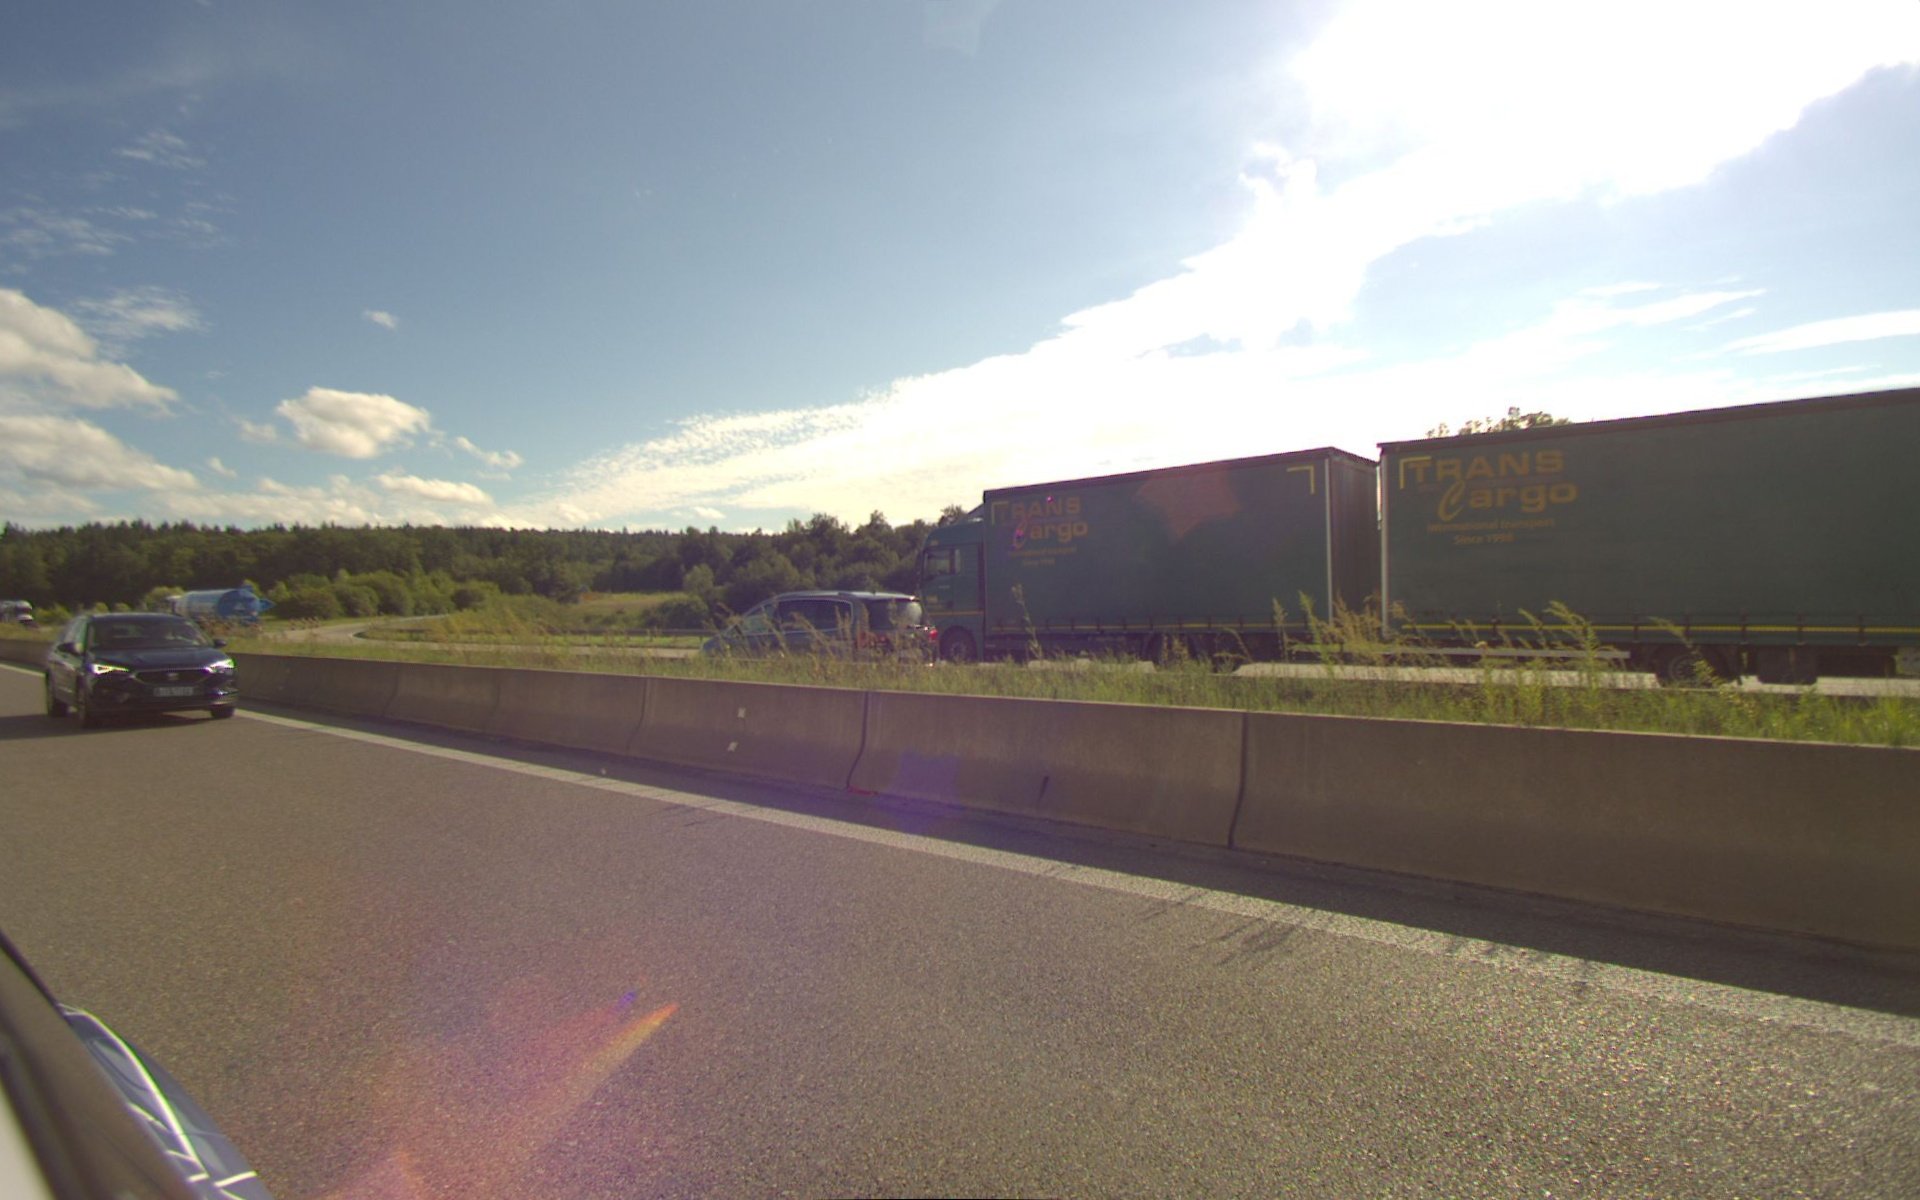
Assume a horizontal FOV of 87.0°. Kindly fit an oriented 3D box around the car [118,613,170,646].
[{"bbox_3d":[-50.834,1.807,63.016,3.998,1.895,1.742,-1,2,41],"label":"car"}]

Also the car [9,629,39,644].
[{"bbox_3d":[-89.183,3.458,96.406,3.706,1.291,1.673,-1,2,41],"label":"car"}]

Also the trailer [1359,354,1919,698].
[{"bbox_3d":[10.844,-0.872,15.266,8.546,4.276,2.698,-1,-1,40],"label":"trailer"}]

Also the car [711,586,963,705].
[{"bbox_3d":[-2.030,0.655,15.999,3.998,1.594,1.652,-1,2,41],"label":"car"}]

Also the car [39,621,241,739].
[{"bbox_3d":[-12.684,1.115,15.561,4.156,1.554,1.756,-1,-1,41],"label":"car"}]

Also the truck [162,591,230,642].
[{"bbox_3d":[-52.973,1.166,70.151,6.100,3.298,2.295,-1,2,40],"label":"truck"}]

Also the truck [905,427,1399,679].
[{"bbox_3d":[3.509,-0.710,21.500,10.336,4.276,2.684,-1,-1,40],"label":"truck"}]

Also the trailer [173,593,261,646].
[{"bbox_3d":[-49.481,1.334,67.223,10.867,3.309,2.298,-2,-1,40],"label":"trailer"}]

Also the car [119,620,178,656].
[{"bbox_3d":[-41.011,1.913,51.112,3.765,1.636,1.654,-1,2,41],"label":"car"}]

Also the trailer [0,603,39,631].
[{"bbox_3d":[-121.380,2.177,130.519,8.949,3.555,2.770,-1,-1,41],"label":"trailer"}]
